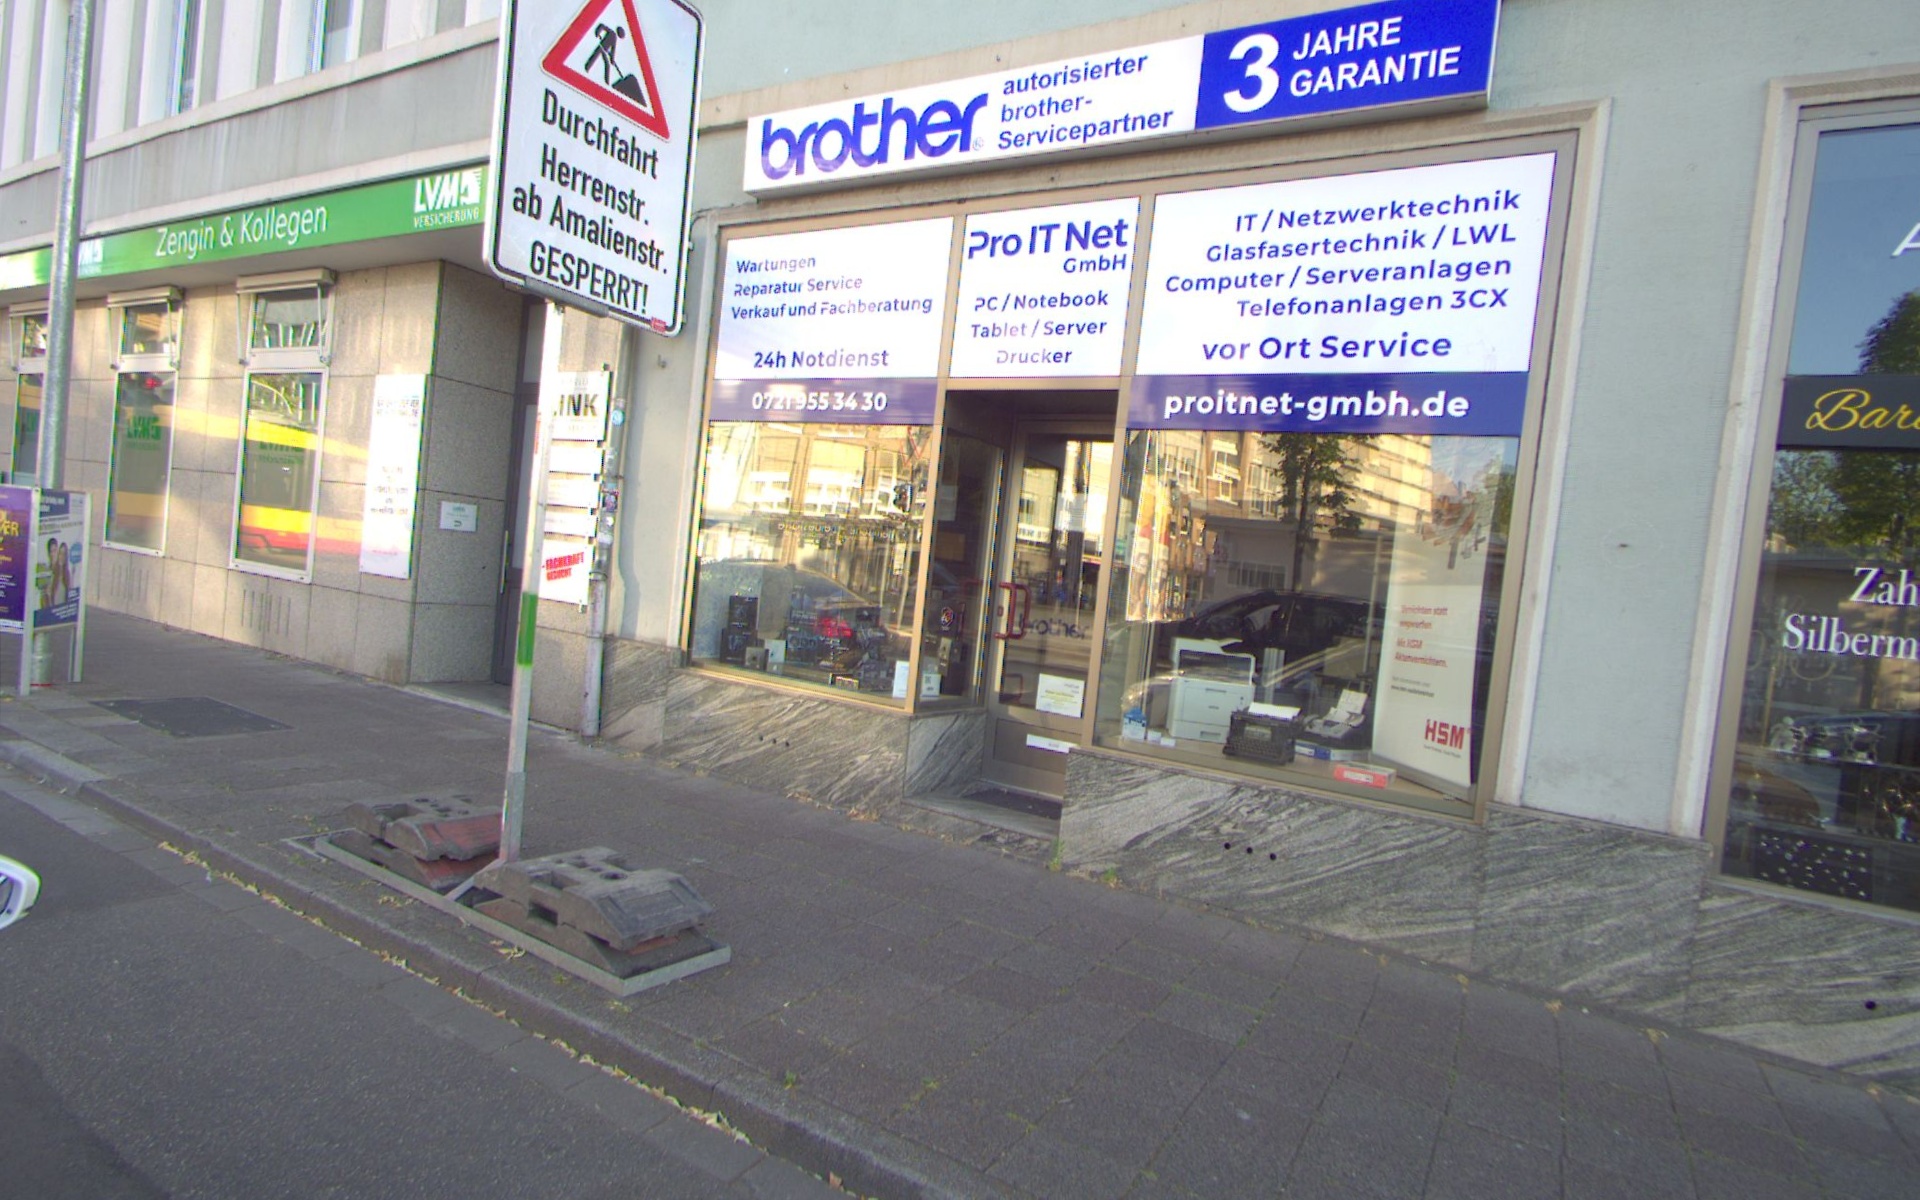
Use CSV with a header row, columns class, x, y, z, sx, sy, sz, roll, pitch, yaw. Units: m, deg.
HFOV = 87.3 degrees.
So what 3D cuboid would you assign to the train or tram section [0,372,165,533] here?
class,x,y,z,sx,sy,sz,roll,pitch,yaw
train or tram section,-26.256,-4.085,25.709,3.024,3.861,10.452,6,1,2
